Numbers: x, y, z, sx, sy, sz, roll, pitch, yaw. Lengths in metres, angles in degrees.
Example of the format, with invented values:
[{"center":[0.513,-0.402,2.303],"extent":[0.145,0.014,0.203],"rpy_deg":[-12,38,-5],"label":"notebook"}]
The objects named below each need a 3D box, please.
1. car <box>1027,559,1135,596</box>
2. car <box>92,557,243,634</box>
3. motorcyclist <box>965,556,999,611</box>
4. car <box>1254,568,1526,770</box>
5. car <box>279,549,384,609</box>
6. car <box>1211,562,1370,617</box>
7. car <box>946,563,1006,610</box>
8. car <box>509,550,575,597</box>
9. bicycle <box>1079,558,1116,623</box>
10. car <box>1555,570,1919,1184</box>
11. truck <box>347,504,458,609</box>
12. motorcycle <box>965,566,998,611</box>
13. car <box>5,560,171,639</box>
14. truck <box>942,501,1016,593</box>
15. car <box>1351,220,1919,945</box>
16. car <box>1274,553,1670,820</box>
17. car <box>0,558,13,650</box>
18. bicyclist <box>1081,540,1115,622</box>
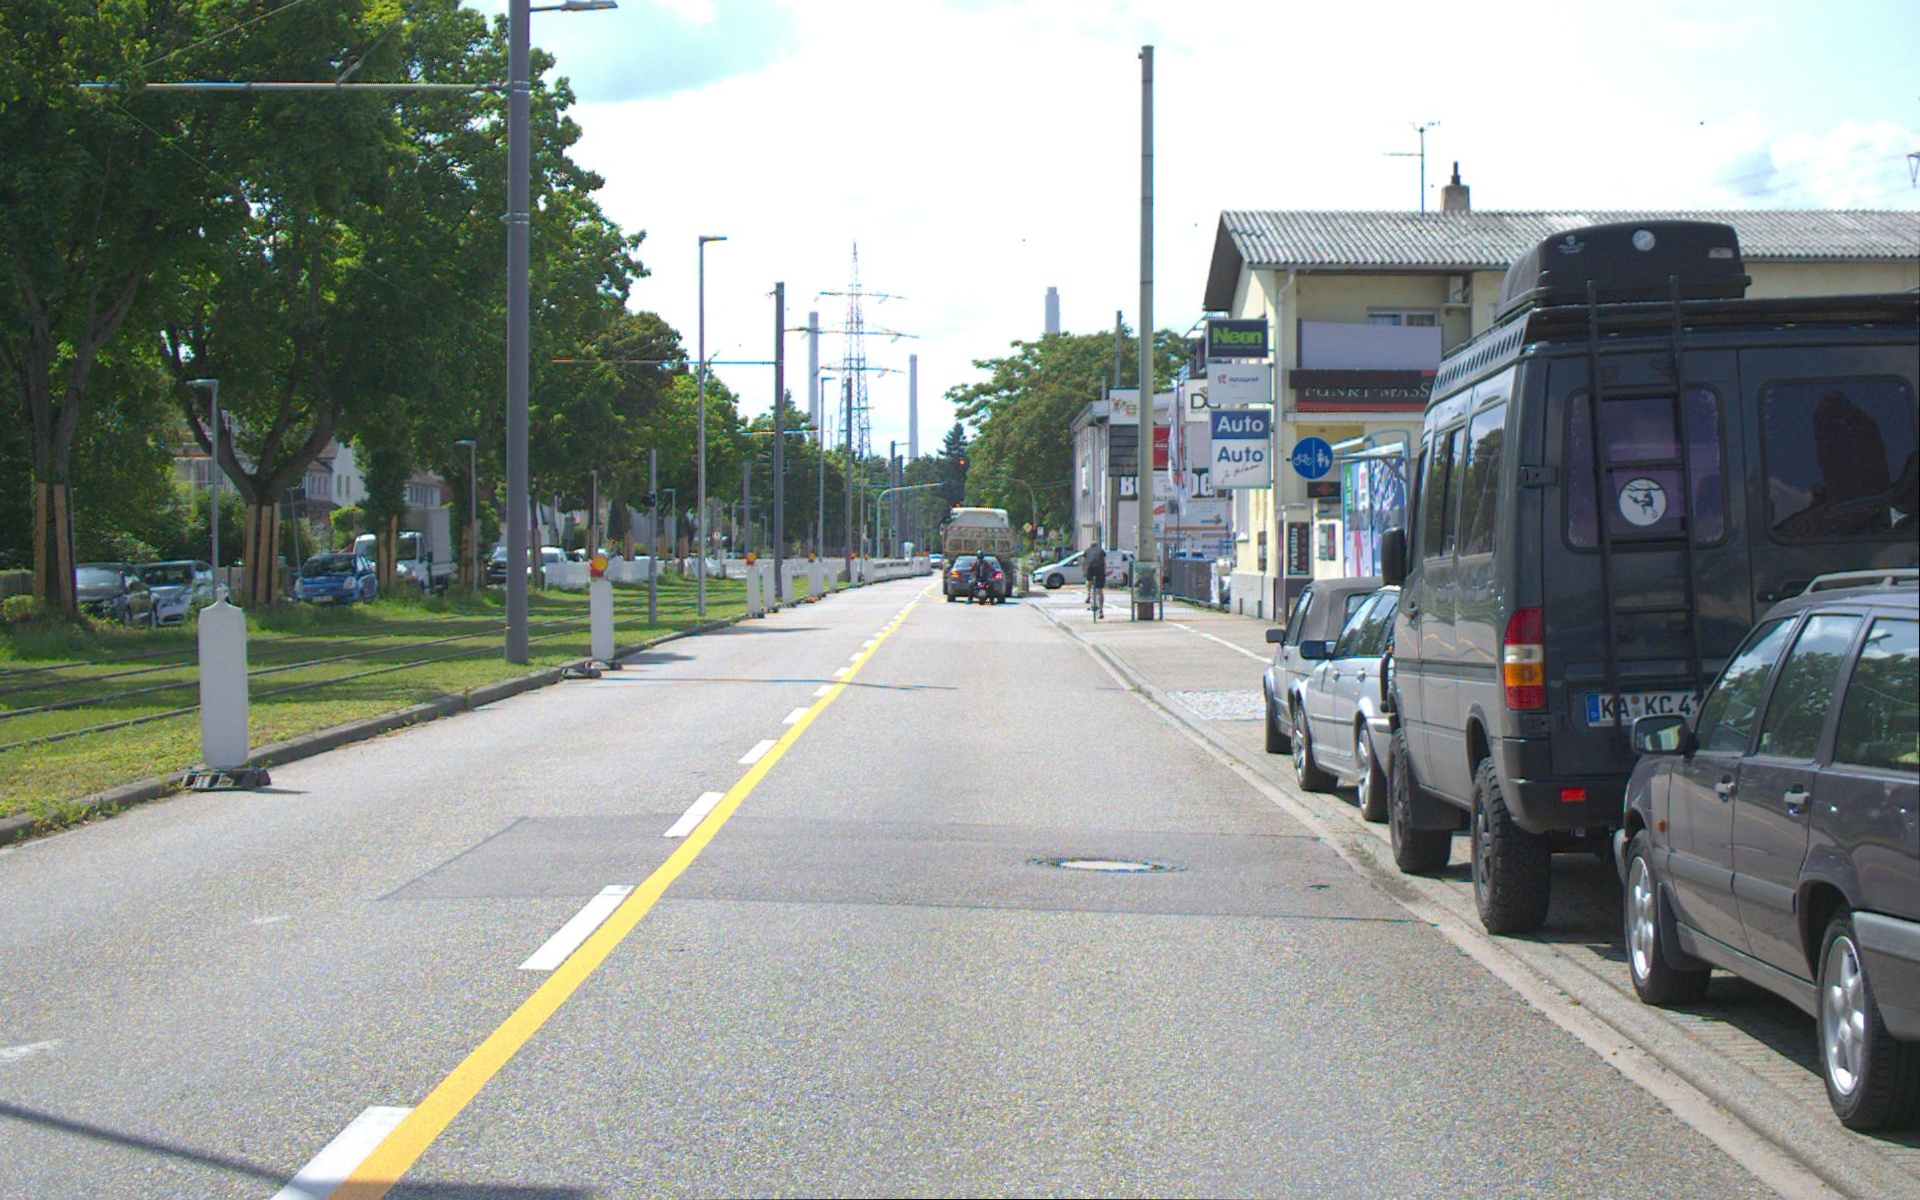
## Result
[{"center":[5.168,-0.944,146.697],"extent":[4.329,1.546,1.950],"rpy_deg":[0,0,-7],"label":"car"},{"center":[-15.699,-0.087,68.336],"extent":[1.805,1.477,4.939],"rpy_deg":[0,0,1],"label":"car"},{"center":[0.662,-0.500,104.637],"extent":[0.939,1.609,1.205],"rpy_deg":[3,0,0],"label":"motorcyclist"},{"center":[3.216,0.489,26.383],"extent":[1.651,1.426,4.096],"rpy_deg":[0,0,1],"label":"car"},{"center":[-15.681,-0.514,85.901],"extent":[1.993,1.448,4.000],"rpy_deg":[0,0,-1],"label":"car"},{"center":[8.936,-0.278,92.794],"extent":[4.185,1.426,1.820],"rpy_deg":[0,0,8],"label":"car"},{"center":[0.505,-0.450,109.296],"extent":[1.821,1.419,4.000],"rpy_deg":[1,1,0],"label":"car"},{"center":[-15.862,-0.981,130.661],"extent":[1.993,1.744,4.000],"rpy_deg":[0,0,0],"label":"car"},{"center":[2.952,-0.219,73.807],"extent":[0.693,1.357,2.418],"rpy_deg":[0,1,0],"label":"bicycle"},{"center":[3.045,0.610,10.258],"extent":[1.721,1.397,4.837],"rpy_deg":[0,0,0],"label":"car"},{"center":[-15.647,-1.235,96.840],"extent":[1.993,2.758,6.276],"rpy_deg":[-2,1,0],"label":"truck"},{"center":[0.652,-0.349,104.819],"extent":[0.939,1.316,2.645],"rpy_deg":[3,0,0],"label":"motorcycle"},{"center":[-15.851,-0.007,62.683],"extent":[1.993,1.313,3.852],"rpy_deg":[-2,0,0],"label":"car"},{"center":[0.745,-2.007,125.611],"extent":[2.610,3.244,9.182],"rpy_deg":[0,2,1],"label":"truck"},{"center":[3.037,-0.085,15.543],"extent":[1.996,2.751,4.879],"rpy_deg":[0,0,0],"label":"car"},{"center":[3.106,0.492,21.687],"extent":[1.691,1.511,4.356],"rpy_deg":[0,0,-2],"label":"car"},{"center":[-16.012,0.079,52.492],"extent":[1.993,1.434,4.000],"rpy_deg":[-1,0,0],"label":"car"},{"center":[2.969,-0.406,73.886],"extent":[0.671,1.738,0.813],"rpy_deg":[1,0,0],"label":"bicyclist"}]
